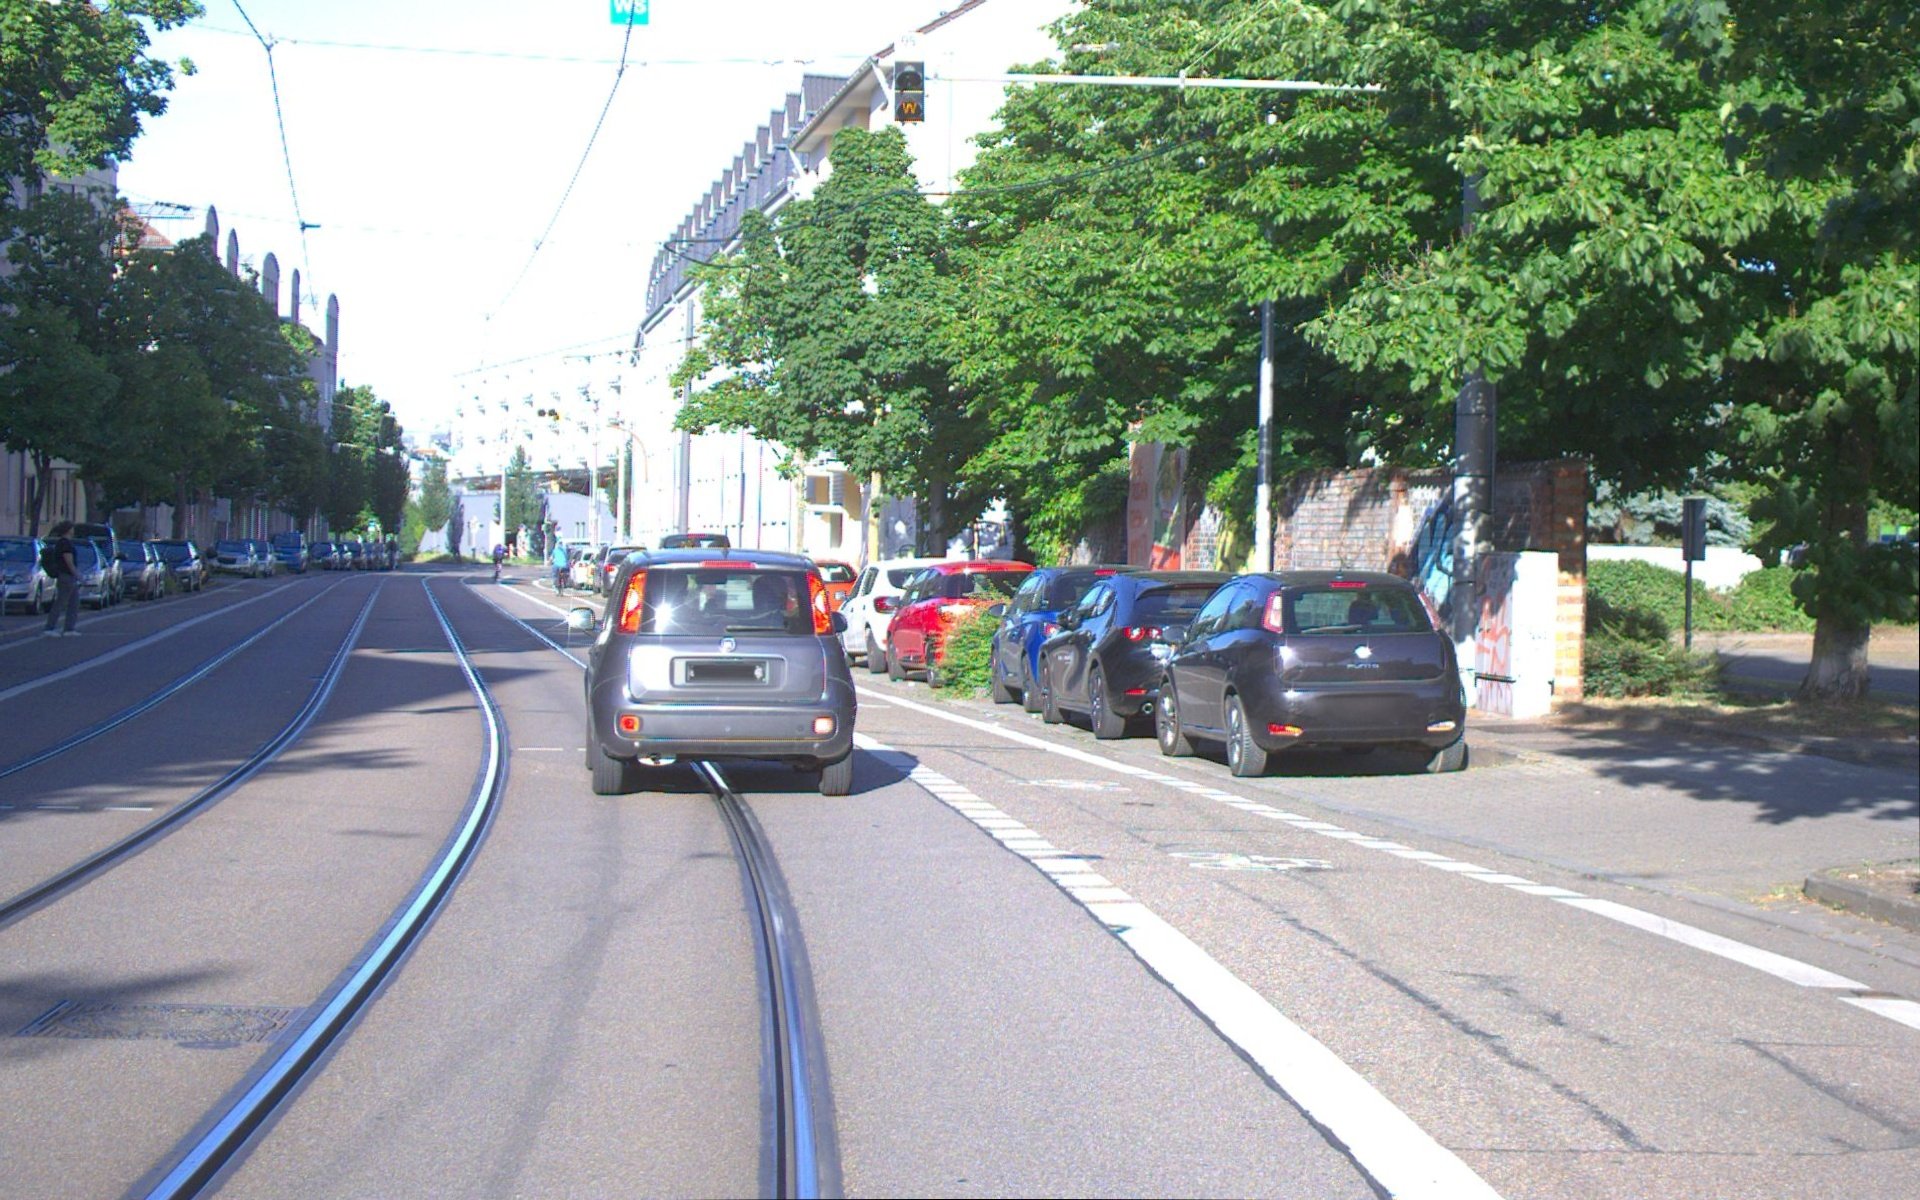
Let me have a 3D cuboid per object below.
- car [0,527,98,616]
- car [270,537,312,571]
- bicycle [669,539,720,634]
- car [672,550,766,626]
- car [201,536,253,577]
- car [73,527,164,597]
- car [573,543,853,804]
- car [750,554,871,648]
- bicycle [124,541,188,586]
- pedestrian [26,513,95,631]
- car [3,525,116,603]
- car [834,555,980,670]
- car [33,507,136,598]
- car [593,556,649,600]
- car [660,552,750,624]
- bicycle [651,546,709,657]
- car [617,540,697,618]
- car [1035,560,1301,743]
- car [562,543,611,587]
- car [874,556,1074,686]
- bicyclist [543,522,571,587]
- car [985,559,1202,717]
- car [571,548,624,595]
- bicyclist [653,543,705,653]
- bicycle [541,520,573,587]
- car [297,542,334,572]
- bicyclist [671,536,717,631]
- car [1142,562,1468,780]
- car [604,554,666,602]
[{"bbox_3d":[-16.892,-0.548,62.781,1.808,1.503,4.192,3,0,-9],"label":"car"},{"bbox_3d":[-31.765,-2.178,163.390,1.706,1.491,3.723,3,0,-8],"label":"car"},{"bbox_3d":[-5.024,-0.272,64.868,0.675,1.741,2.158,3,0,-10],"label":"bicycle"},{"bbox_3d":[-5.322,-0.283,75.738,1.655,1.566,3.500,3,0,-10],"label":"car"},{"bbox_3d":[-28.767,-1.707,134.982,1.706,1.491,3.723,3,0,-8],"label":"car"},{"bbox_3d":[-20.943,-0.954,85.639,1.808,1.614,4.065,3,0,-9],"label":"car"},{"bbox_3d":[-1.660,0.405,22.552,1.650,1.536,4.235,0,1,-5],"label":"car"},{"bbox_3d":[-2.531,-0.007,57.594,1.635,1.503,3.398,-1,1,-9],"label":"car"},{"bbox_3d":[-22.956,-1.046,98.189,1.728,1.192,0.373,3,0,-12],"label":"bicycle"},{"bbox_3d":[-13.725,-0.430,52.441,0.849,1.770,0.735,0,2,-29],"label":"pedestrian"},{"bbox_3d":[-19.041,-0.778,72.837,1.808,1.503,4.682,3,0,-9],"label":"car"},{"bbox_3d":[-0.777,0.144,47.948,1.688,1.525,4.001,0,1,-6],"label":"car"},{"bbox_3d":[-19.920,-1.084,78.351,1.808,1.937,4.335,3,0,-9],"label":"car"},{"bbox_3d":[-11.595,-0.768,117.389,1.582,1.400,3.377,3,0,-10],"label":"car"},{"bbox_3d":[-5.966,-0.300,80.085,1.655,1.566,3.877,3,0,-10],"label":"car"},{"bbox_3d":[-4.601,0.009,56.396,0.675,1.741,2.158,3,0,-10],"label":"bicycle"},{"bbox_3d":[-8.035,-0.577,90.779,1.655,1.937,4.666,3,0,-10],"label":"car"},{"bbox_3d":[1.791,0.408,30.882,1.688,1.525,4.356,0,1,-6],"label":"car"},{"bbox_3d":[-14.255,-1.341,131.142,1.582,1.593,3.377,3,0,-10],"label":"car"},{"bbox_3d":[0.123,0.226,42.666,1.688,1.525,4.001,0,1,-12],"label":"car"},{"bbox_3d":[-12.575,-1.424,107.255,0.715,2.007,0.832,3,0,-10],"label":"bicyclist"},{"bbox_3d":[1.315,0.346,35.456,1.688,1.525,4.001,0,1,-6],"label":"car"},{"bbox_3d":[-13.108,-1.034,124.174,1.582,1.593,3.377,3,0,-10],"label":"car"},{"bbox_3d":[-4.616,-0.039,56.466,0.699,1.753,0.758,3,0,-10],"label":"bicyclist"},{"bbox_3d":[-12.584,-1.451,107.264,0.741,2.007,2.812,3,0,-10],"label":"bicycle"},{"bbox_3d":[-33.564,-2.253,179.098,1.706,1.491,3.723,3,0,-8],"label":"car"},{"bbox_3d":[-5.022,-0.313,64.850,0.699,1.753,0.758,3,0,-10],"label":"bicyclist"},{"bbox_3d":[2.541,0.482,26.221,1.688,1.525,4.001,0,1,-6],"label":"car"},{"bbox_3d":[-10.046,-0.696,106.136,1.582,1.400,3.377,-2,1,-10],"label":"car"}]
